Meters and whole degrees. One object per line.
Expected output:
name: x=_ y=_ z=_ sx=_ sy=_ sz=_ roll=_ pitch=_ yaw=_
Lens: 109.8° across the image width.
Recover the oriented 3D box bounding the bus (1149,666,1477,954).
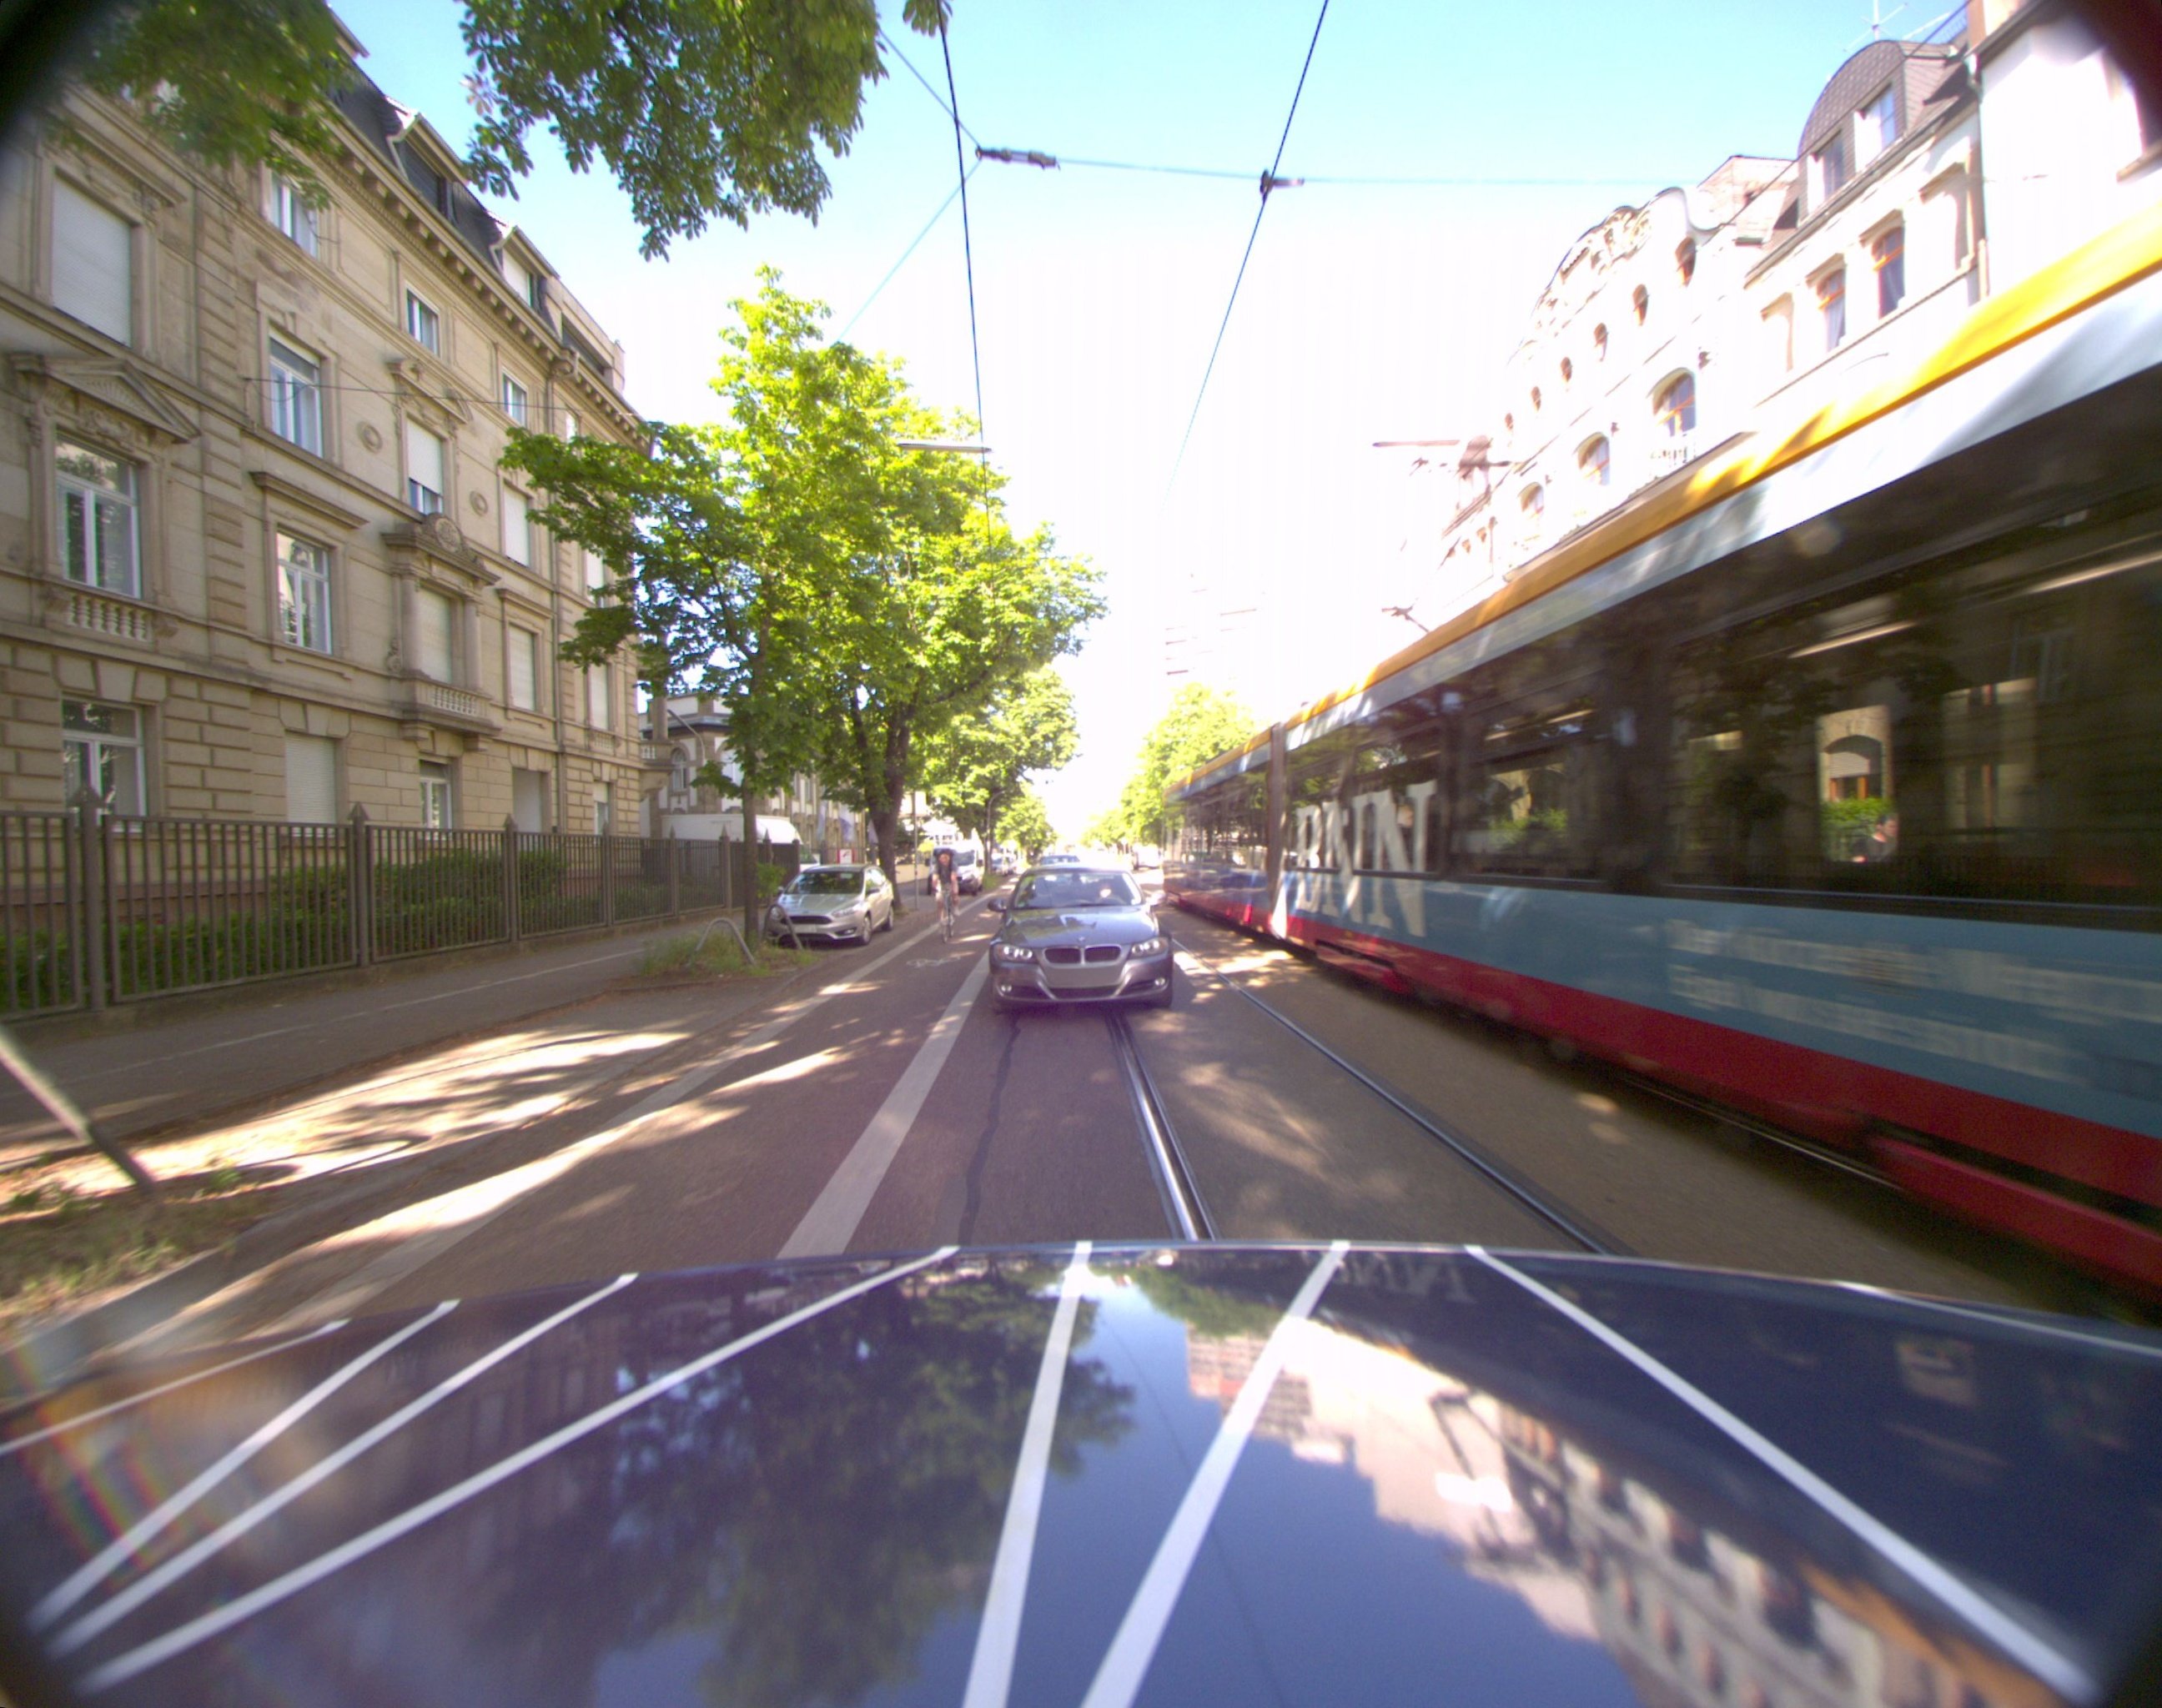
bus: x=3.658 y=-0.691 z=15.950 sx=2.867 sy=3.755 sz=11.493 roll=-2 pitch=1 yaw=-2

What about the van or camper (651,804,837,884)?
van or camper: x=-12.429 y=-0.315 z=27.936 sx=6.721 sy=2.612 sz=2.126 roll=-2 pitch=2 yaw=23

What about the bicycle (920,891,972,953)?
bicycle: x=-2.500 y=1.234 z=14.283 sx=0.535 sy=0.917 sz=2.056 roll=-2 pitch=1 yaw=1

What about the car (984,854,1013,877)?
car: x=-6.096 y=0.794 z=56.451 sx=1.867 sy=1.541 sz=4.100 roll=-2 pitch=1 yaw=-3

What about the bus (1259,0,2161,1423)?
bus: x=4.072 y=-0.497 z=4.555 sx=2.867 sy=3.755 sz=11.178 roll=-2 pitch=1 yaw=-2

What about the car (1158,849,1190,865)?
car: x=8.927 y=0.304 z=72.878 sx=2.757 sy=1.417 sz=1.226 roll=-3 pitch=1 yaw=-17

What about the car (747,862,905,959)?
car: x=-4.831 y=0.983 z=15.110 sx=1.877 sy=1.534 sz=4.363 roll=0 pitch=1 yaw=-3

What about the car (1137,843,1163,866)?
car: x=6.287 y=0.019 z=68.825 sx=1.997 sy=1.893 sz=4.002 roll=-2 pitch=1 yaw=10

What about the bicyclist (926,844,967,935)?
bicyclist: x=-2.520 y=0.645 z=14.337 sx=0.532 sy=1.660 sz=0.878 roll=-2 pitch=2 yaw=1

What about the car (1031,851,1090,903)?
car: x=-0.652 y=0.726 z=26.596 sx=1.828 sy=1.559 sz=3.999 roll=-2 pitch=1 yaw=0

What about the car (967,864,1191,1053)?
car: x=-0.007 y=0.927 z=8.521 sx=1.870 sy=1.426 sz=3.999 roll=-2 pitch=1 yaw=0

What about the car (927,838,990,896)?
car: x=-5.300 y=0.469 z=33.610 sx=2.132 sy=2.329 sz=5.802 roll=0 pitch=1 yaw=-3

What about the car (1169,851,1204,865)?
car: x=9.100 y=0.305 z=65.679 sx=2.757 sy=1.083 sz=1.226 roll=-3 pitch=1 yaw=-17
